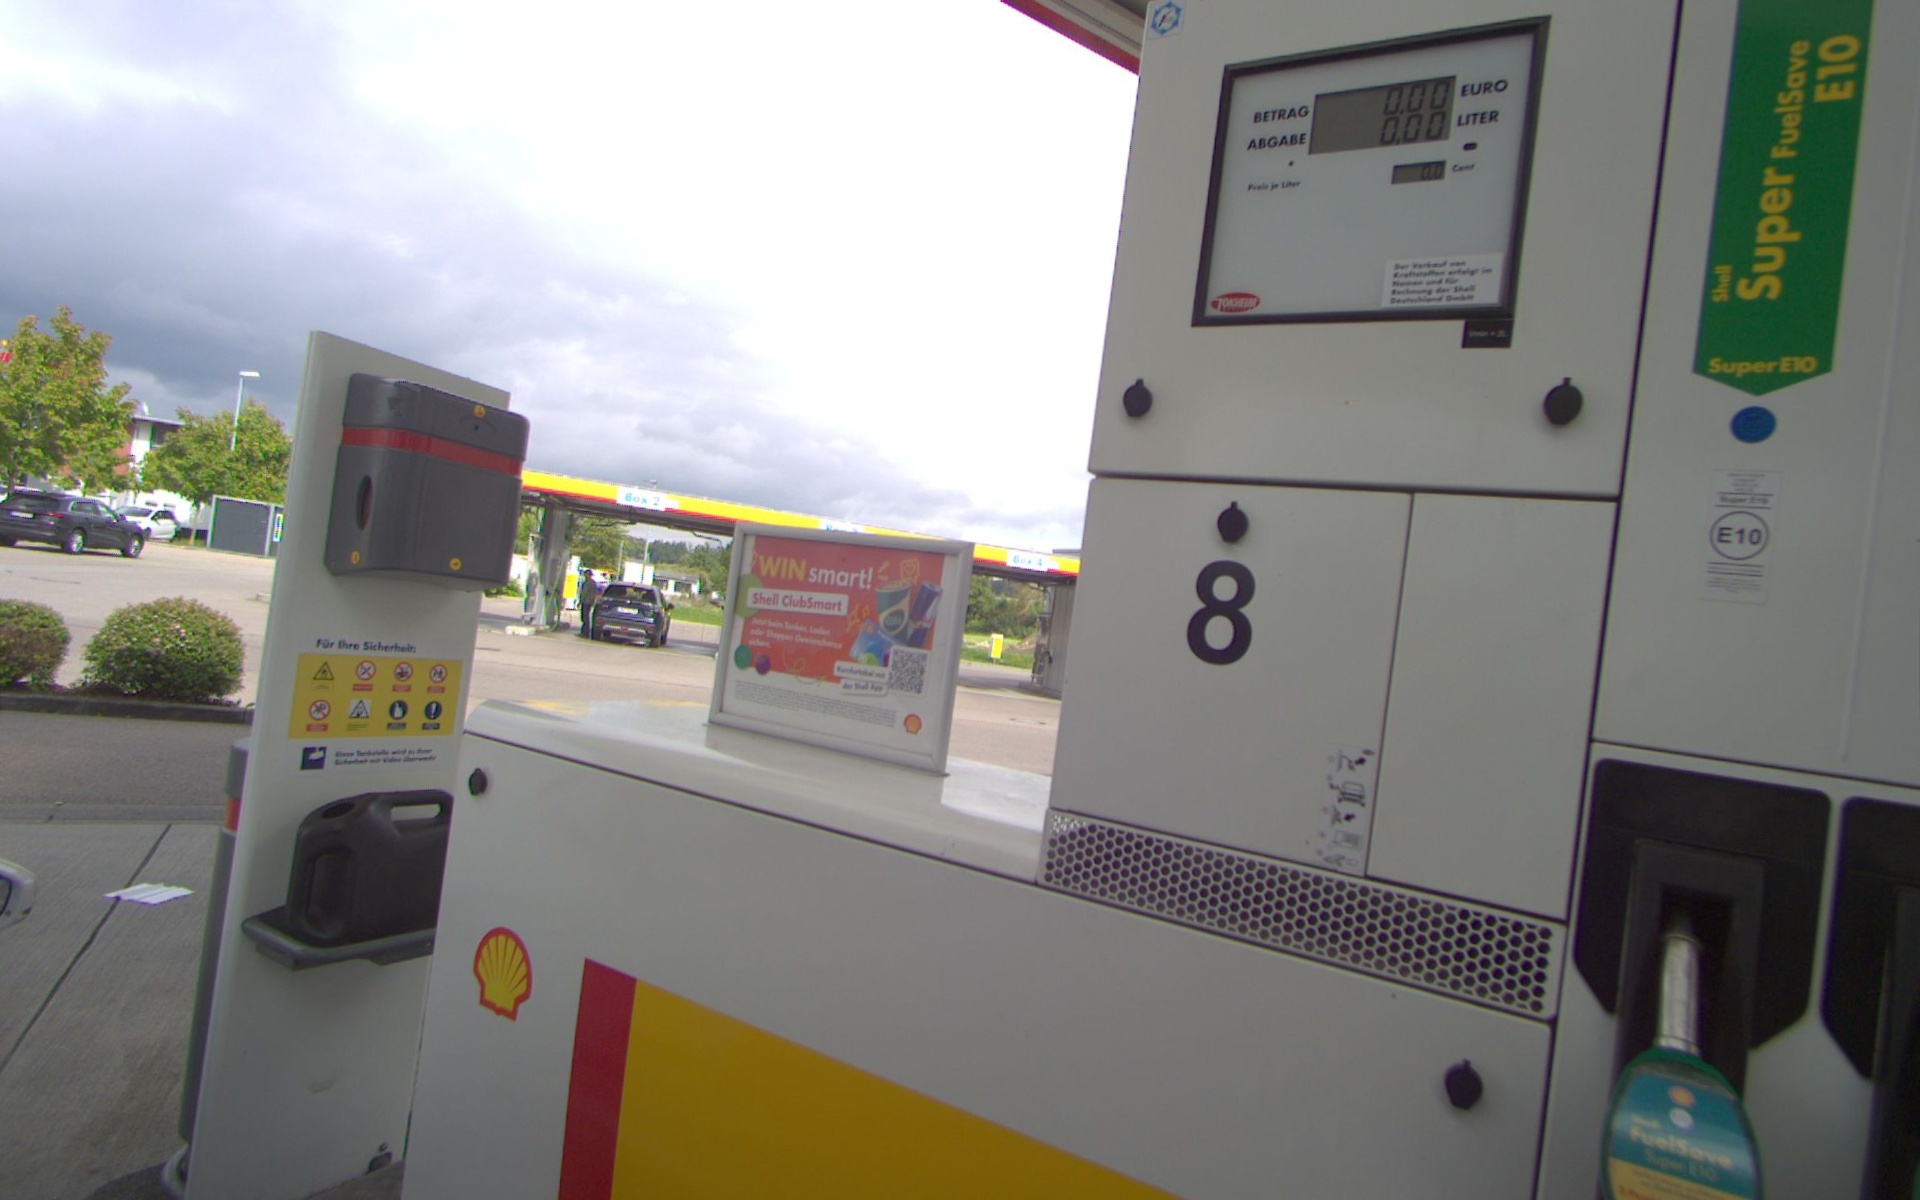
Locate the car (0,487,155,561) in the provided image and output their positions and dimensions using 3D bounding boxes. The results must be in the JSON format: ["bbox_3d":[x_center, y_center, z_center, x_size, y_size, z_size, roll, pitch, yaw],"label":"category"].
[{"bbox_3d":[-25.917,-2.168,29.251,1.855,1.566,4.498,8,-2,-10],"label":"car"}]

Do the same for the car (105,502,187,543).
[{"bbox_3d":[-35.249,-3.341,43.635,1.346,1.322,3.098,8,-2,-12],"label":"car"}]

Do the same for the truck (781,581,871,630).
[{"bbox_3d":[-13.013,0.559,97.499,7.978,3.575,2.687,8,-2,-19],"label":"truck"}]

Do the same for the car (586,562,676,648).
[{"bbox_3d":[-8.685,0.152,26.855,1.696,1.919,3.800,8,-2,-12],"label":"car"}]

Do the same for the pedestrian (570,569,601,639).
[{"bbox_3d":[-9.726,0.097,26.118,0.550,1.742,0.526,7,-1,-21],"label":"pedestrian"}]

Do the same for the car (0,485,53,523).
[{"bbox_3d":[-57.352,-5.906,60.228,2.149,1.854,4.870,8,-2,-11],"label":"car"}]
